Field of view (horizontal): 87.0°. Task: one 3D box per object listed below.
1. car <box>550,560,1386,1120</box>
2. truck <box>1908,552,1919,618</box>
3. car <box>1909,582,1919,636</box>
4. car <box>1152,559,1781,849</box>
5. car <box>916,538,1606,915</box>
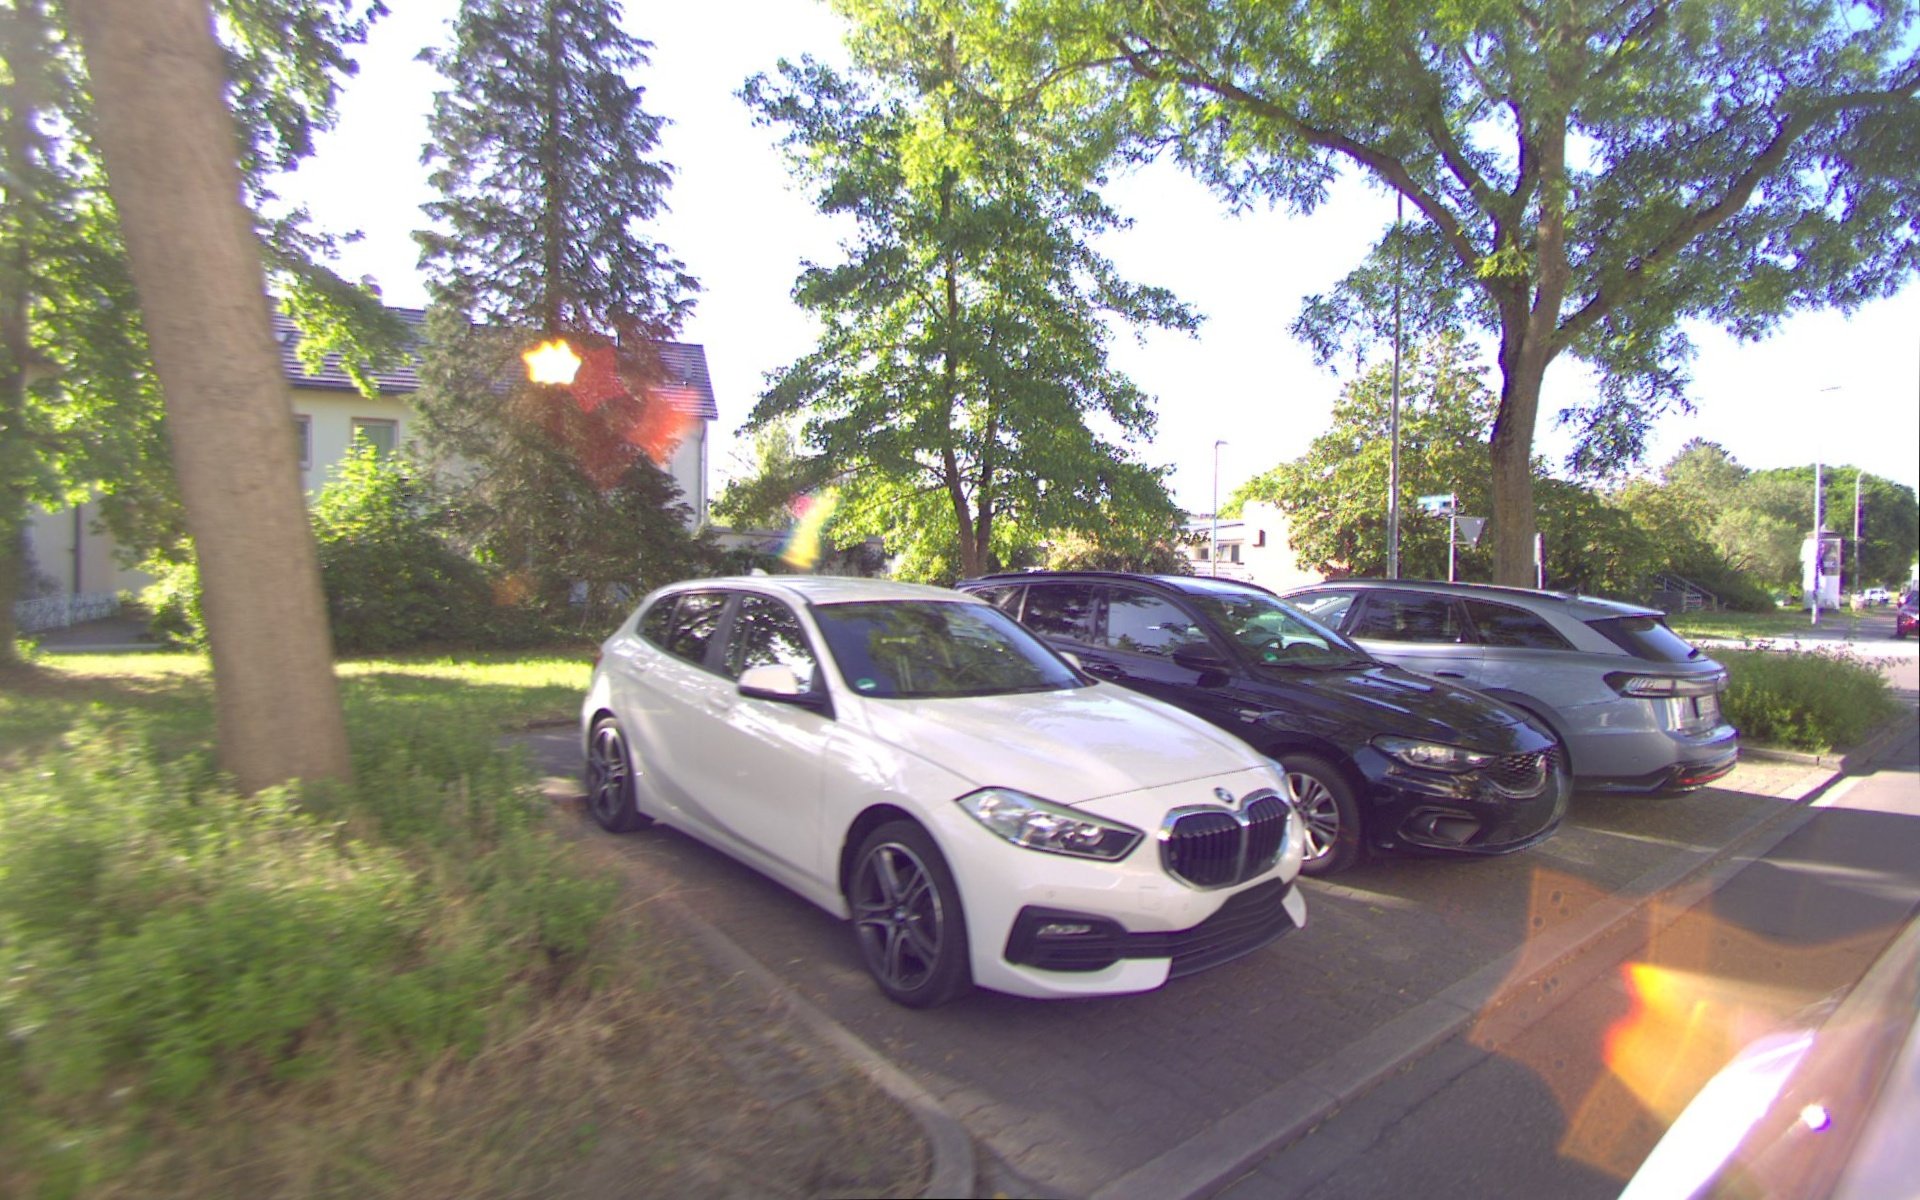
[{"bbox_3d":[-0.382,0.592,4.903,1.715,1.425,4.147,0,4,-41],"label":"car"},{"bbox_3d":[44.824,-0.615,45.394,8.128,2.835,2.760,-1,4,-43],"label":"truck"},{"bbox_3d":[30.943,0.288,31.467,3.984,1.635,1.771,-1,4,-43],"label":"car"},{"bbox_3d":[3.683,0.538,7.980,1.715,1.572,4.050,0,4,-41],"label":"car"},{"bbox_3d":[1.641,0.548,6.609,1.715,1.679,4.047,0,0,-41],"label":"car"}]
